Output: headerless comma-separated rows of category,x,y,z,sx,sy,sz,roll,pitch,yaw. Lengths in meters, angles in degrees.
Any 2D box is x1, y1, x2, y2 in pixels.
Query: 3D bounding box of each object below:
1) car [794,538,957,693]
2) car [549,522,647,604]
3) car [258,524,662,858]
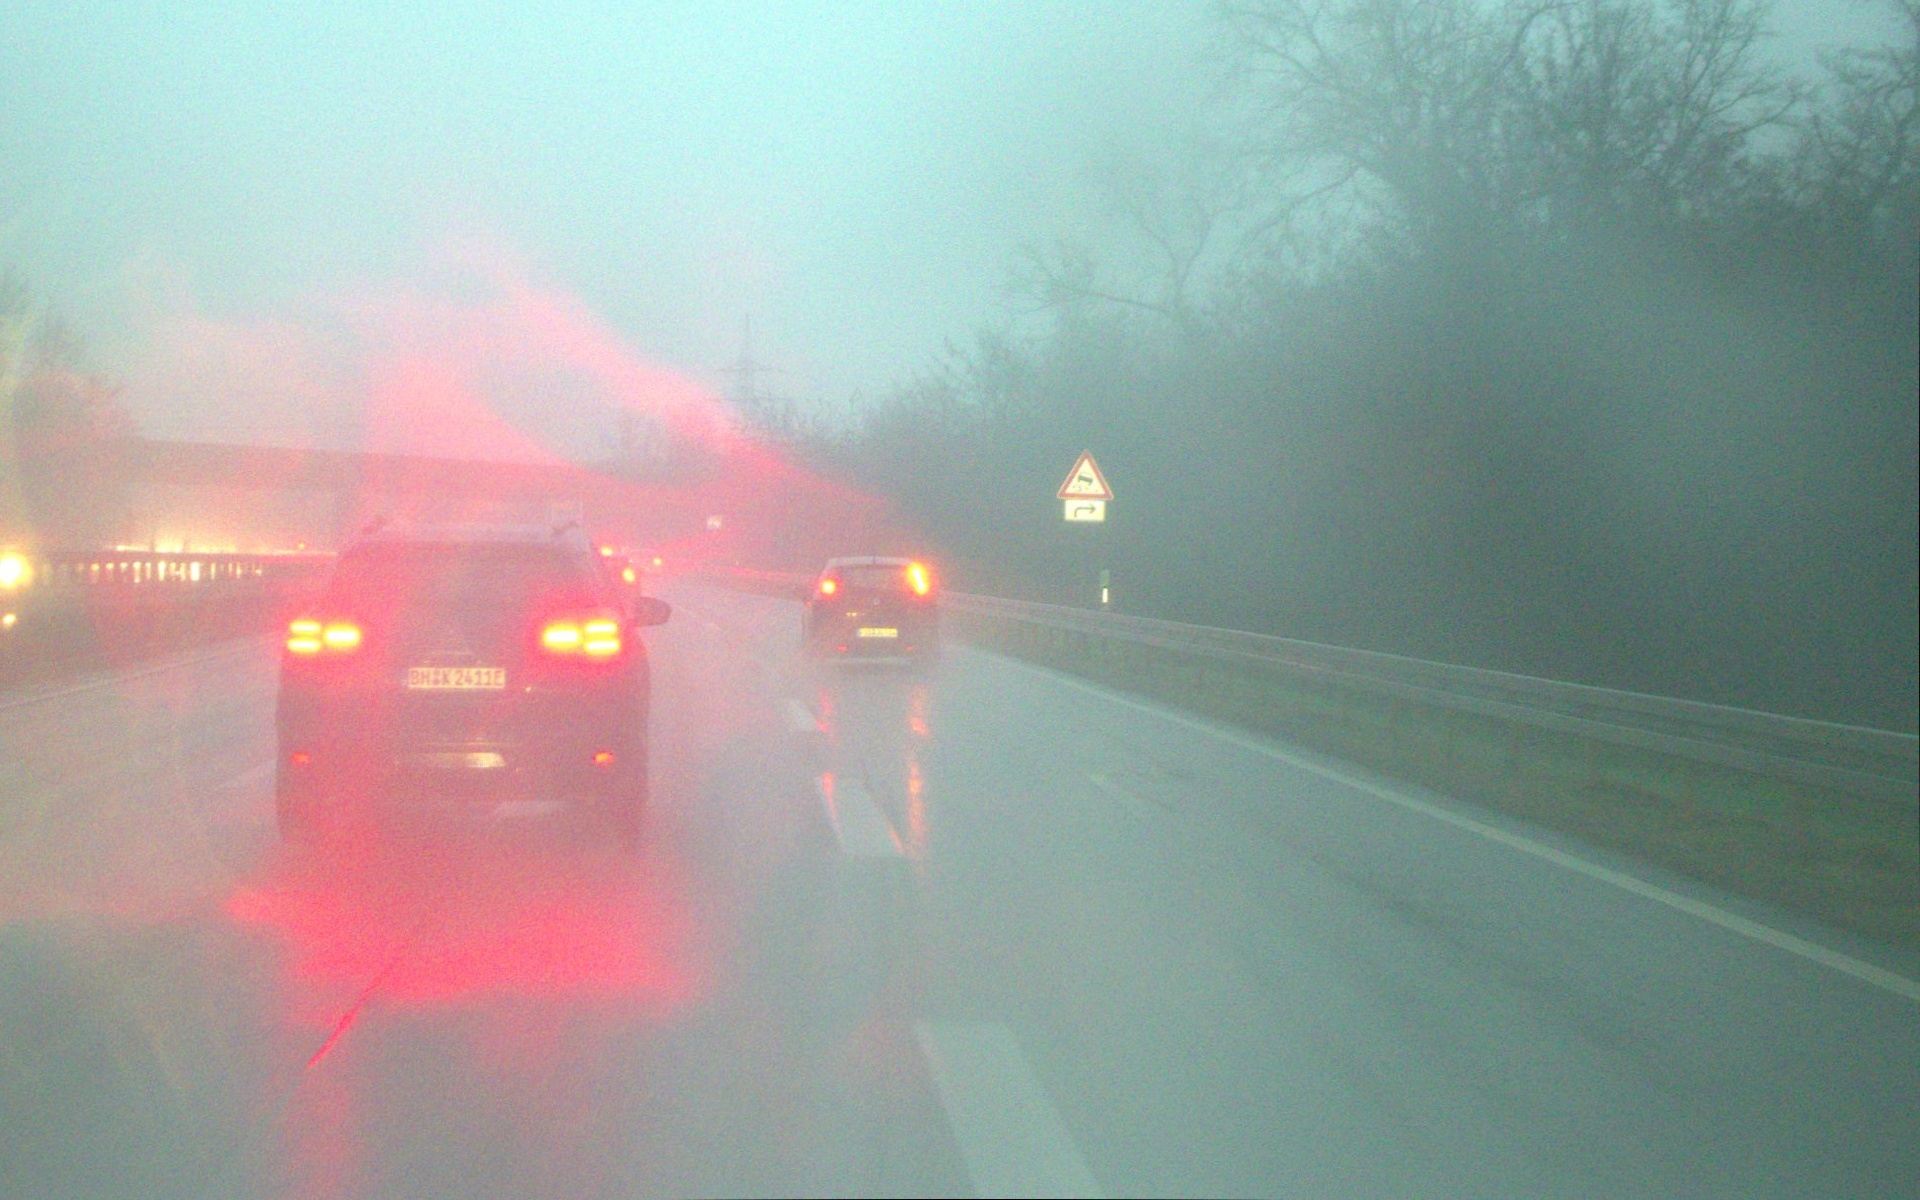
car,-1.161,0.165,45.425,1.731,1.423,3.768,0,9,-8
car,-7.974,-0.842,75.487,1.878,1.612,3.876,2,2,-9
car,-2.746,0.423,19.204,1.993,1.659,4.001,0,1,-7
